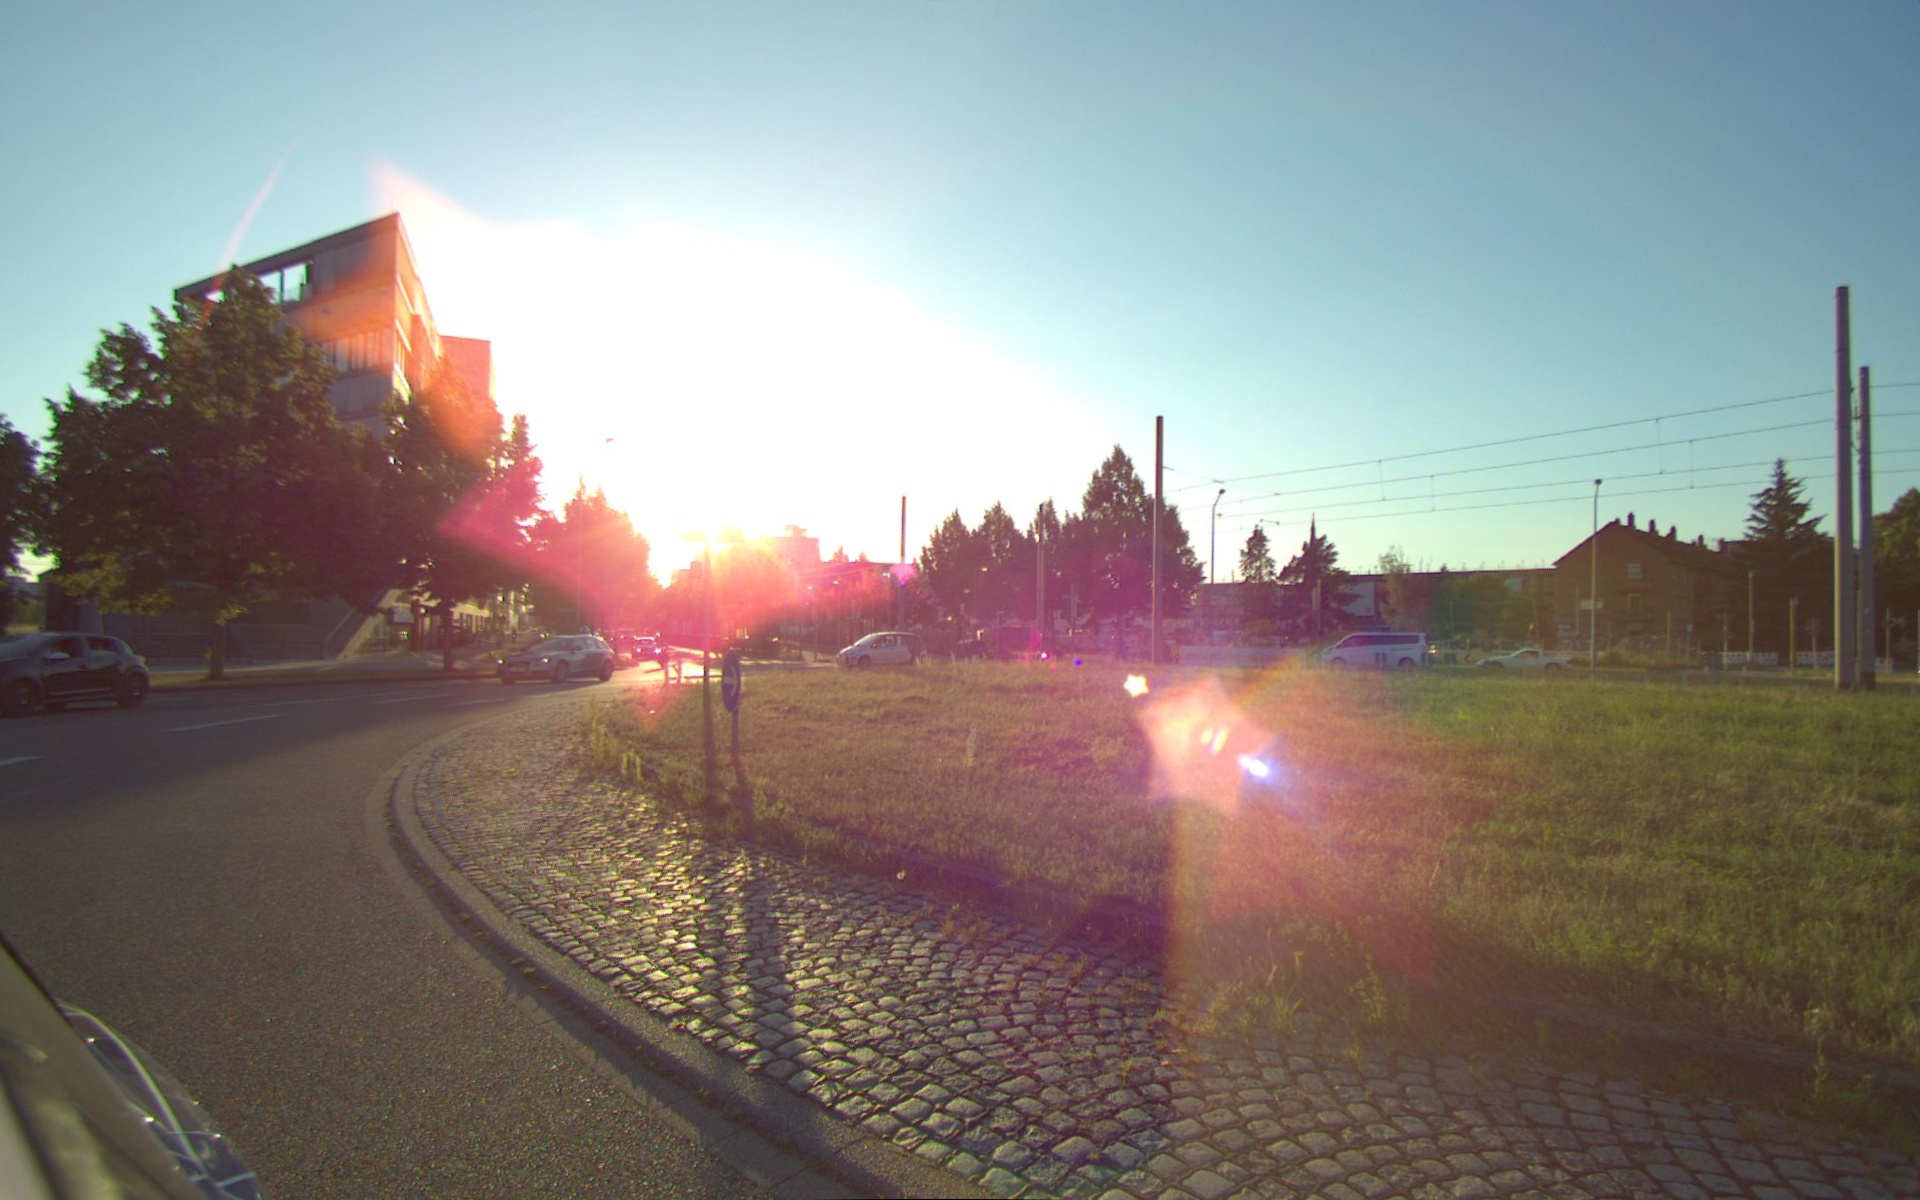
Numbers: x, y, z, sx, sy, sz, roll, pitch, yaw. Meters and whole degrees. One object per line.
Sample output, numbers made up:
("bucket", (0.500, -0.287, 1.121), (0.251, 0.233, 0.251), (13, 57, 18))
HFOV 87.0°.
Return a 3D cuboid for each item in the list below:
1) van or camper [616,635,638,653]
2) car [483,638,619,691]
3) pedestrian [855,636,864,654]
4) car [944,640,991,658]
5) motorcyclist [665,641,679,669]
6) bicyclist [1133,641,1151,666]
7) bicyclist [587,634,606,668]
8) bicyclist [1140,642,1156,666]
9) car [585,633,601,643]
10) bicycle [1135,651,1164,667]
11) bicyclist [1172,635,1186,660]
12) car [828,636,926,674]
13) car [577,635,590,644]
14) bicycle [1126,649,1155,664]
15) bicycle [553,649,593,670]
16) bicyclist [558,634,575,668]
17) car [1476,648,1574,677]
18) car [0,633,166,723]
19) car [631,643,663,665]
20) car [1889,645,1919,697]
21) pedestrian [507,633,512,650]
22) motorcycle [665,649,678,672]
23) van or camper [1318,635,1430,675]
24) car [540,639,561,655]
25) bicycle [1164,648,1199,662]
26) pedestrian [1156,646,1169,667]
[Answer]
("van or camper", (-39.458, 5.217, 119.857), (1.965, 1.972, 5.346), (1, -2, -24))
("car", (-11.962, 1.851, 29.963), (1.782, 1.434, 4.438), (0, -2, 8))
("pedestrian", (-8.963, 4.049, 90.632), (0.696, 1.645, 0.448), (1, -3, -25))
("car", (0.555, 3.931, 81.297), (1.898, 1.426, 4.666), (1, -3, -26))
("motorcyclist", (-14.847, 2.807, 52.129), (0.625, 1.427, 0.717), (1, -2, -18))
("bicyclist", (11.863, 3.476, 66.007), (0.801, 1.653, 0.817), (1, -3, -20))
("bicyclist", (-18.950, 2.651, 52.742), (0.835, 1.769, 0.806), (1, -3, -16))
("bicyclist", (12.104, 3.493, 65.134), (0.801, 1.517, 0.594), (1, -3, -20))
("car", (-57.169, 5.929, 157.691), (1.861, 1.635, 4.013), (1, -2, -26))
("bicycle", (12.188, 3.788, 65.141), (1.812, 0.988, 0.539), (1, -3, -19))
("bicyclist", (14.135, 3.059, 65.320), (0.794, 1.646, 0.689), (-1, -3, 26))
("car", (-3.372, 2.238, 41.401), (3.648, 1.477, 1.611), (2, -3, -34))
("car", (-61.857, 6.538, 166.281), (1.772, 1.475, 4.013), (1, -3, -23))
("bicycle", (11.780, 3.668, 65.930), (1.812, 0.988, 0.551), (1, -3, -19))
("bicycle", (-19.420, 2.966, 50.816), (1.832, 1.030, 0.309), (2, -3, -33))
("bicyclist", (-19.699, 2.560, 50.663), (0.673, 1.661, 0.686), (2, -3, -32))
("car", (25.870, 2.855, 46.479), (3.759, 1.265, 1.566), (-2, -2, 25))
("car", (-16.618, 1.333, 18.044), (1.778, 1.475, 4.000), (0, -2, 0))
("car", (-22.726, 3.929, 73.588), (1.861, 1.492, 4.061), (1, -2, -12))
("car", (34.152, 2.384, 33.568), (1.722, 1.761, 4.609), (2, -3, -34))
("pedestrian", (-54.389, 5.056, 122.188), (0.529, 2.029, 0.529), (1, -3, -24))
("motorcycle", (-14.930, 3.135, 52.388), (0.548, 1.109, 2.166), (1, -2, -18))
("van or camper", (21.568, 2.880, 52.744), (5.275, 2.025, 1.898), (-2, -3, 27))
("car", (-40.351, 4.632, 99.676), (1.772, 1.475, 4.013), (1, -3, -23))
("bicycle", (14.307, 3.550, 65.354), (2.124, 0.852, 0.508), (-1, -3, 27))
("pedestrian", (13.502, 3.756, 67.443), (0.608, 1.377, 0.697), (1, -3, -20))
